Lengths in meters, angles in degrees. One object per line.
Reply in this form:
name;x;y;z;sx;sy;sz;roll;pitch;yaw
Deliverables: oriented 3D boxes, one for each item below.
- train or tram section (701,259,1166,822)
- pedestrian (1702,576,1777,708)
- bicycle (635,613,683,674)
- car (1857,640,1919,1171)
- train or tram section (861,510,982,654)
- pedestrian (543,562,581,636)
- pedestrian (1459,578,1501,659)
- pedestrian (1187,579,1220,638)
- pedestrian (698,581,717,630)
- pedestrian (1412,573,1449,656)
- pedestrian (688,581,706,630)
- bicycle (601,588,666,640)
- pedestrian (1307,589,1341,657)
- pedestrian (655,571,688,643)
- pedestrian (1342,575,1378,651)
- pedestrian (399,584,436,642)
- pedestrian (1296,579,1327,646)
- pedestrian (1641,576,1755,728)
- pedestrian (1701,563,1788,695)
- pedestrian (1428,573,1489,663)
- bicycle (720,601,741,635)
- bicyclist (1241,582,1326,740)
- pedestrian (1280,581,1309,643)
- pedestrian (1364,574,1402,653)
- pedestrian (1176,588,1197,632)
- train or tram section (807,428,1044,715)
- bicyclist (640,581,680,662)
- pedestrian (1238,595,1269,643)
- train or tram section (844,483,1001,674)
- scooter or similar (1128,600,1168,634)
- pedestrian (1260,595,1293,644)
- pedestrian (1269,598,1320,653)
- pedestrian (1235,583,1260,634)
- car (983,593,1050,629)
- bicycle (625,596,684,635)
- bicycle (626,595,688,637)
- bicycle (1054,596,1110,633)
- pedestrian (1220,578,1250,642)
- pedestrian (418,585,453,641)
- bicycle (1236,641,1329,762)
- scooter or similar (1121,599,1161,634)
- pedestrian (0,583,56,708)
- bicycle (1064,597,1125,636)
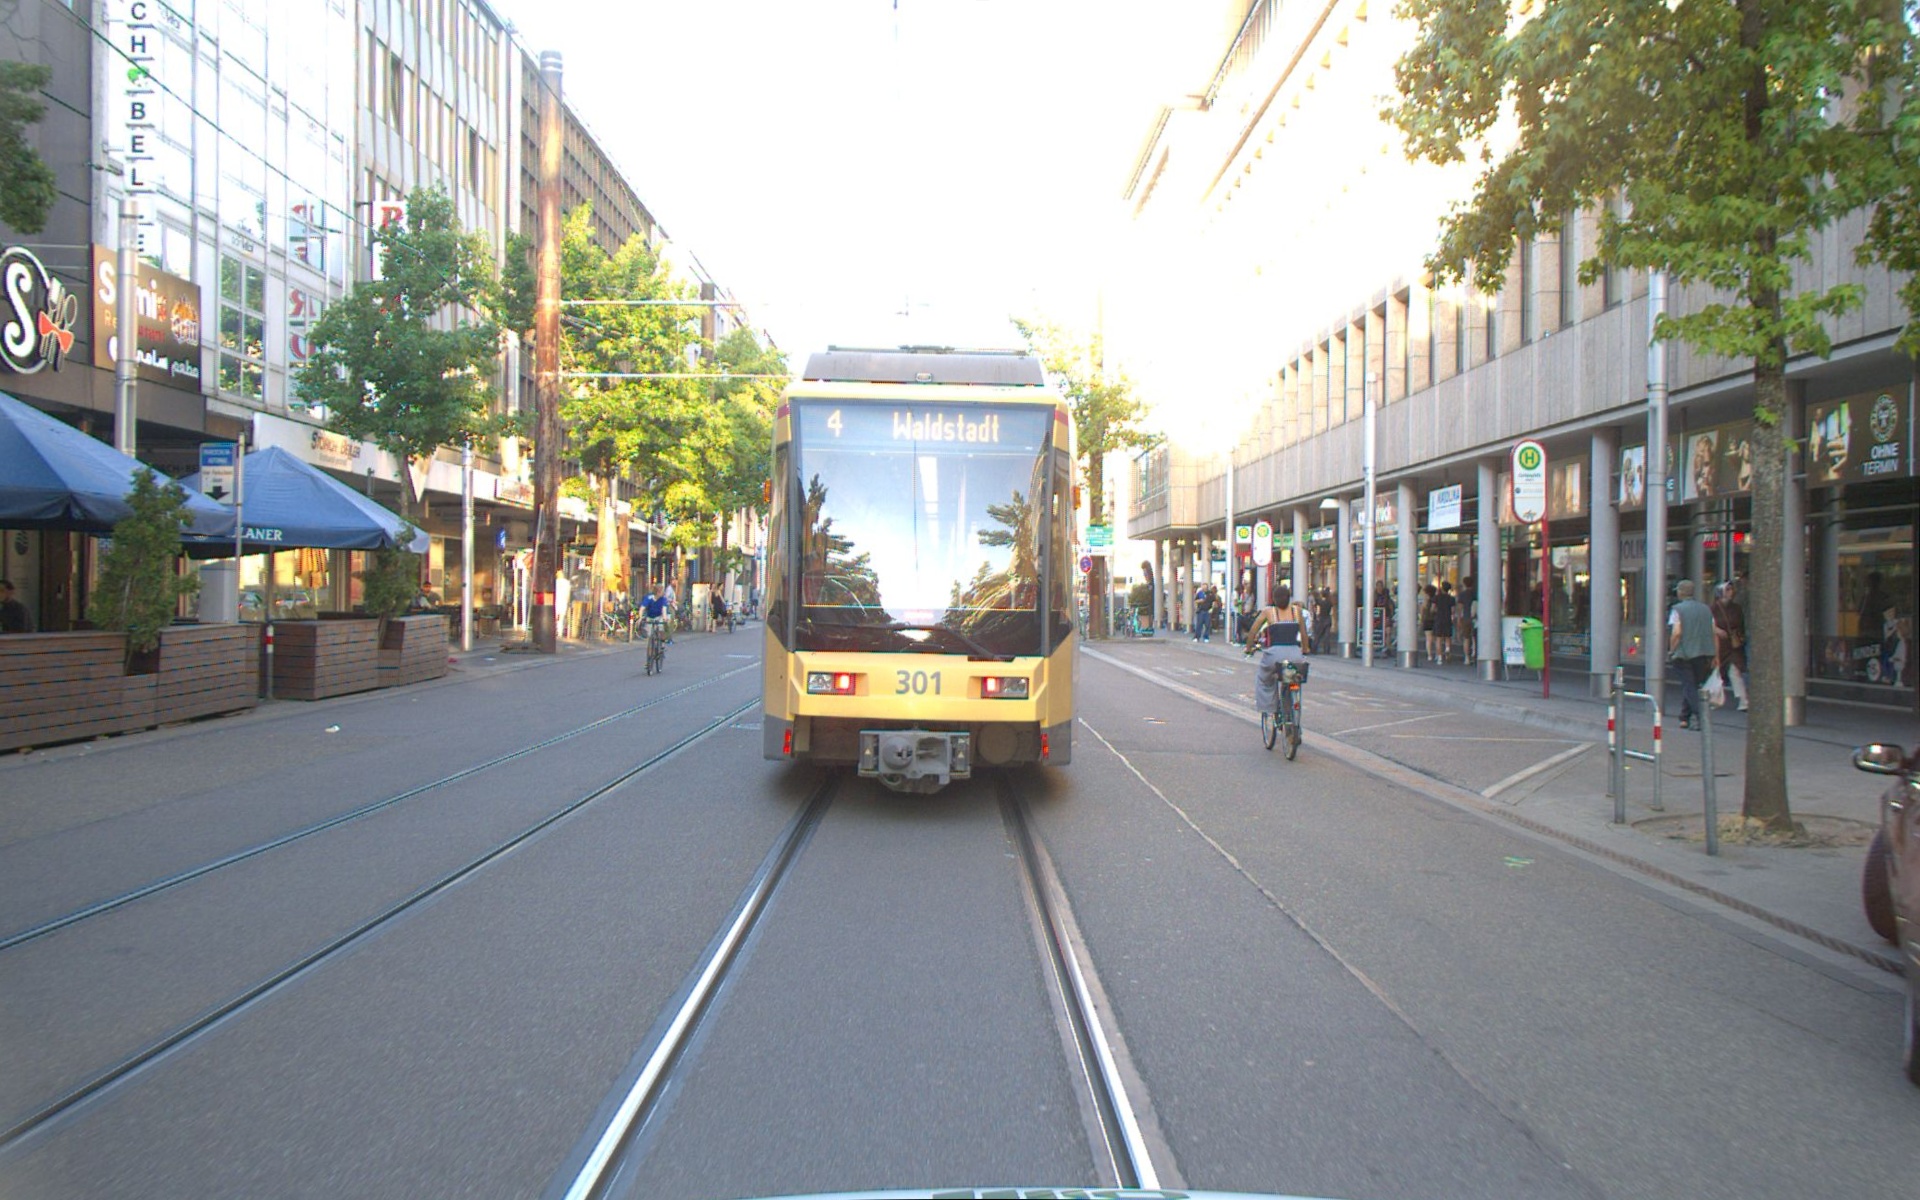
train or tram section;-0.299;-0.370;15.794;2.955;3.585;10.367;0;0;-2
pedestrian;10.076;0.529;21.401;0.584;1.644;0.755;-1;1;-1
bicycle;-5.460;0.780;30.080;0.628;1.040;1.588;2;0;-3
car;4.470;0.922;6.283;1.767;1.372;4.440;0;1;27
train or tram section;-1.117;-0.467;47.474;2.983;3.585;10.527;2;0;-2
pedestrian;-11.278;-0.019;46.877;0.831;2.049;0.921;1;-1;-1
pedestrian;10.932;0.377;34.775;0.584;1.644;0.829;-1;1;-1
pedestrian;7.498;0.260;51.002;0.870;1.813;0.751;1;-1;-3
pedestrian;-8.927;0.193;58.381;0.540;1.716;0.575;3;-1;-5
pedestrian;10.914;0.323;38.366;0.584;1.871;0.829;-1;1;-1
pedestrian;-9.387;0.192;59.005;0.563;1.716;0.551;3;-1;-11
bicycle;-9.414;0.398;47.713;1.766;1.384;0.658;3;-1;-13
pedestrian;9.039;0.561;41.096;0.687;1.666;0.645;-1;1;-1
pedestrian;-7.838;0.196;44.883;0.736;1.912;0.575;3;-1;-5
pedestrian;10.112;0.314;41.813;0.687;1.871;0.705;-1;1;-1
pedestrian;-12.831;0.314;39.104;0.562;1.342;0.725;3;-1;-1
pedestrian;10.008;0.337;47.090;0.687;1.871;0.829;-1;1;-1
pedestrian;8.133;0.553;18.249;0.859;1.609;0.755;2;1;-2
pedestrian;11.341;0.404;23.938;0.816;1.868;0.944;-1;1;-1
pedestrian;10.947;0.381;36.353;1.032;1.909;0.929;-1;1;-1
bicycle;-8.040;0.618;57.963;0.599;1.146;2.249;3;-1;-6
bicyclist;3.287;0.610;16.862;0.711;1.553;0.734;2;-1;3
pedestrian;10.302;0.373;50.908;0.687;1.871;0.829;-1;1;-1
pedestrian;10.284;0.326;40.232;0.687;1.871;0.829;-1;1;-1
pedestrian;8.933;0.387;65.202;0.687;1.714;0.680;-1;1;-1
train or tram section;-0.568;-0.374;26.171;2.947;3.585;10.398;1;0;-2
bicyclist;-5.448;0.394;30.065;0.608;1.441;0.699;1;-1;-4
pedestrian;8.527;0.560;48.062;0.724;1.351;0.720;-1;1;0
train or tram section;-0.846;-0.412;36.792;2.943;3.585;10.841;1;0;-2
scooter or similar;6.877;0.620;60.359;1.356;1.232;0.513;0;-1;-15
pedestrian;8.849;0.543;46.259;0.789;1.351;0.626;-1;1;0
pedestrian;8.591;0.642;42.485;1.089;1.351;0.926;-1;0;0
pedestrian;9.829;0.276;56.572;0.687;1.714;0.680;-1;1;-1
car;2.712;0.532;78.084;1.611;1.622;3.914;1;-1;27
bicycle;-9.579;0.488;51.896;1.699;1.146;0.563;3;-1;-5
bicycle;-9.056;0.478;49.477;1.700;1.146;0.612;3;-1;-8
bicycle;5.146;0.612;69.851;2.283;1.497;0.790;1;-1;-5
pedestrian;7.944;0.289;47.805;0.733;1.813;0.891;1;-1;2
pedestrian;-12.800;0.319;40.388;0.562;1.342;0.725;3;-1;-1
bicycle;3.275;1.002;16.939;0.642;1.079;2.058;2;0;3
scooter or similar;6.701;0.597;61.247;1.354;1.272;0.555;0;-1;-9
pedestrian;-10.090;0.475;17.571;0.547;1.278;0.606;3;-1;0
bicycle;5.336;0.644;65.762;2.283;1.497;0.790;1;-1;-5
